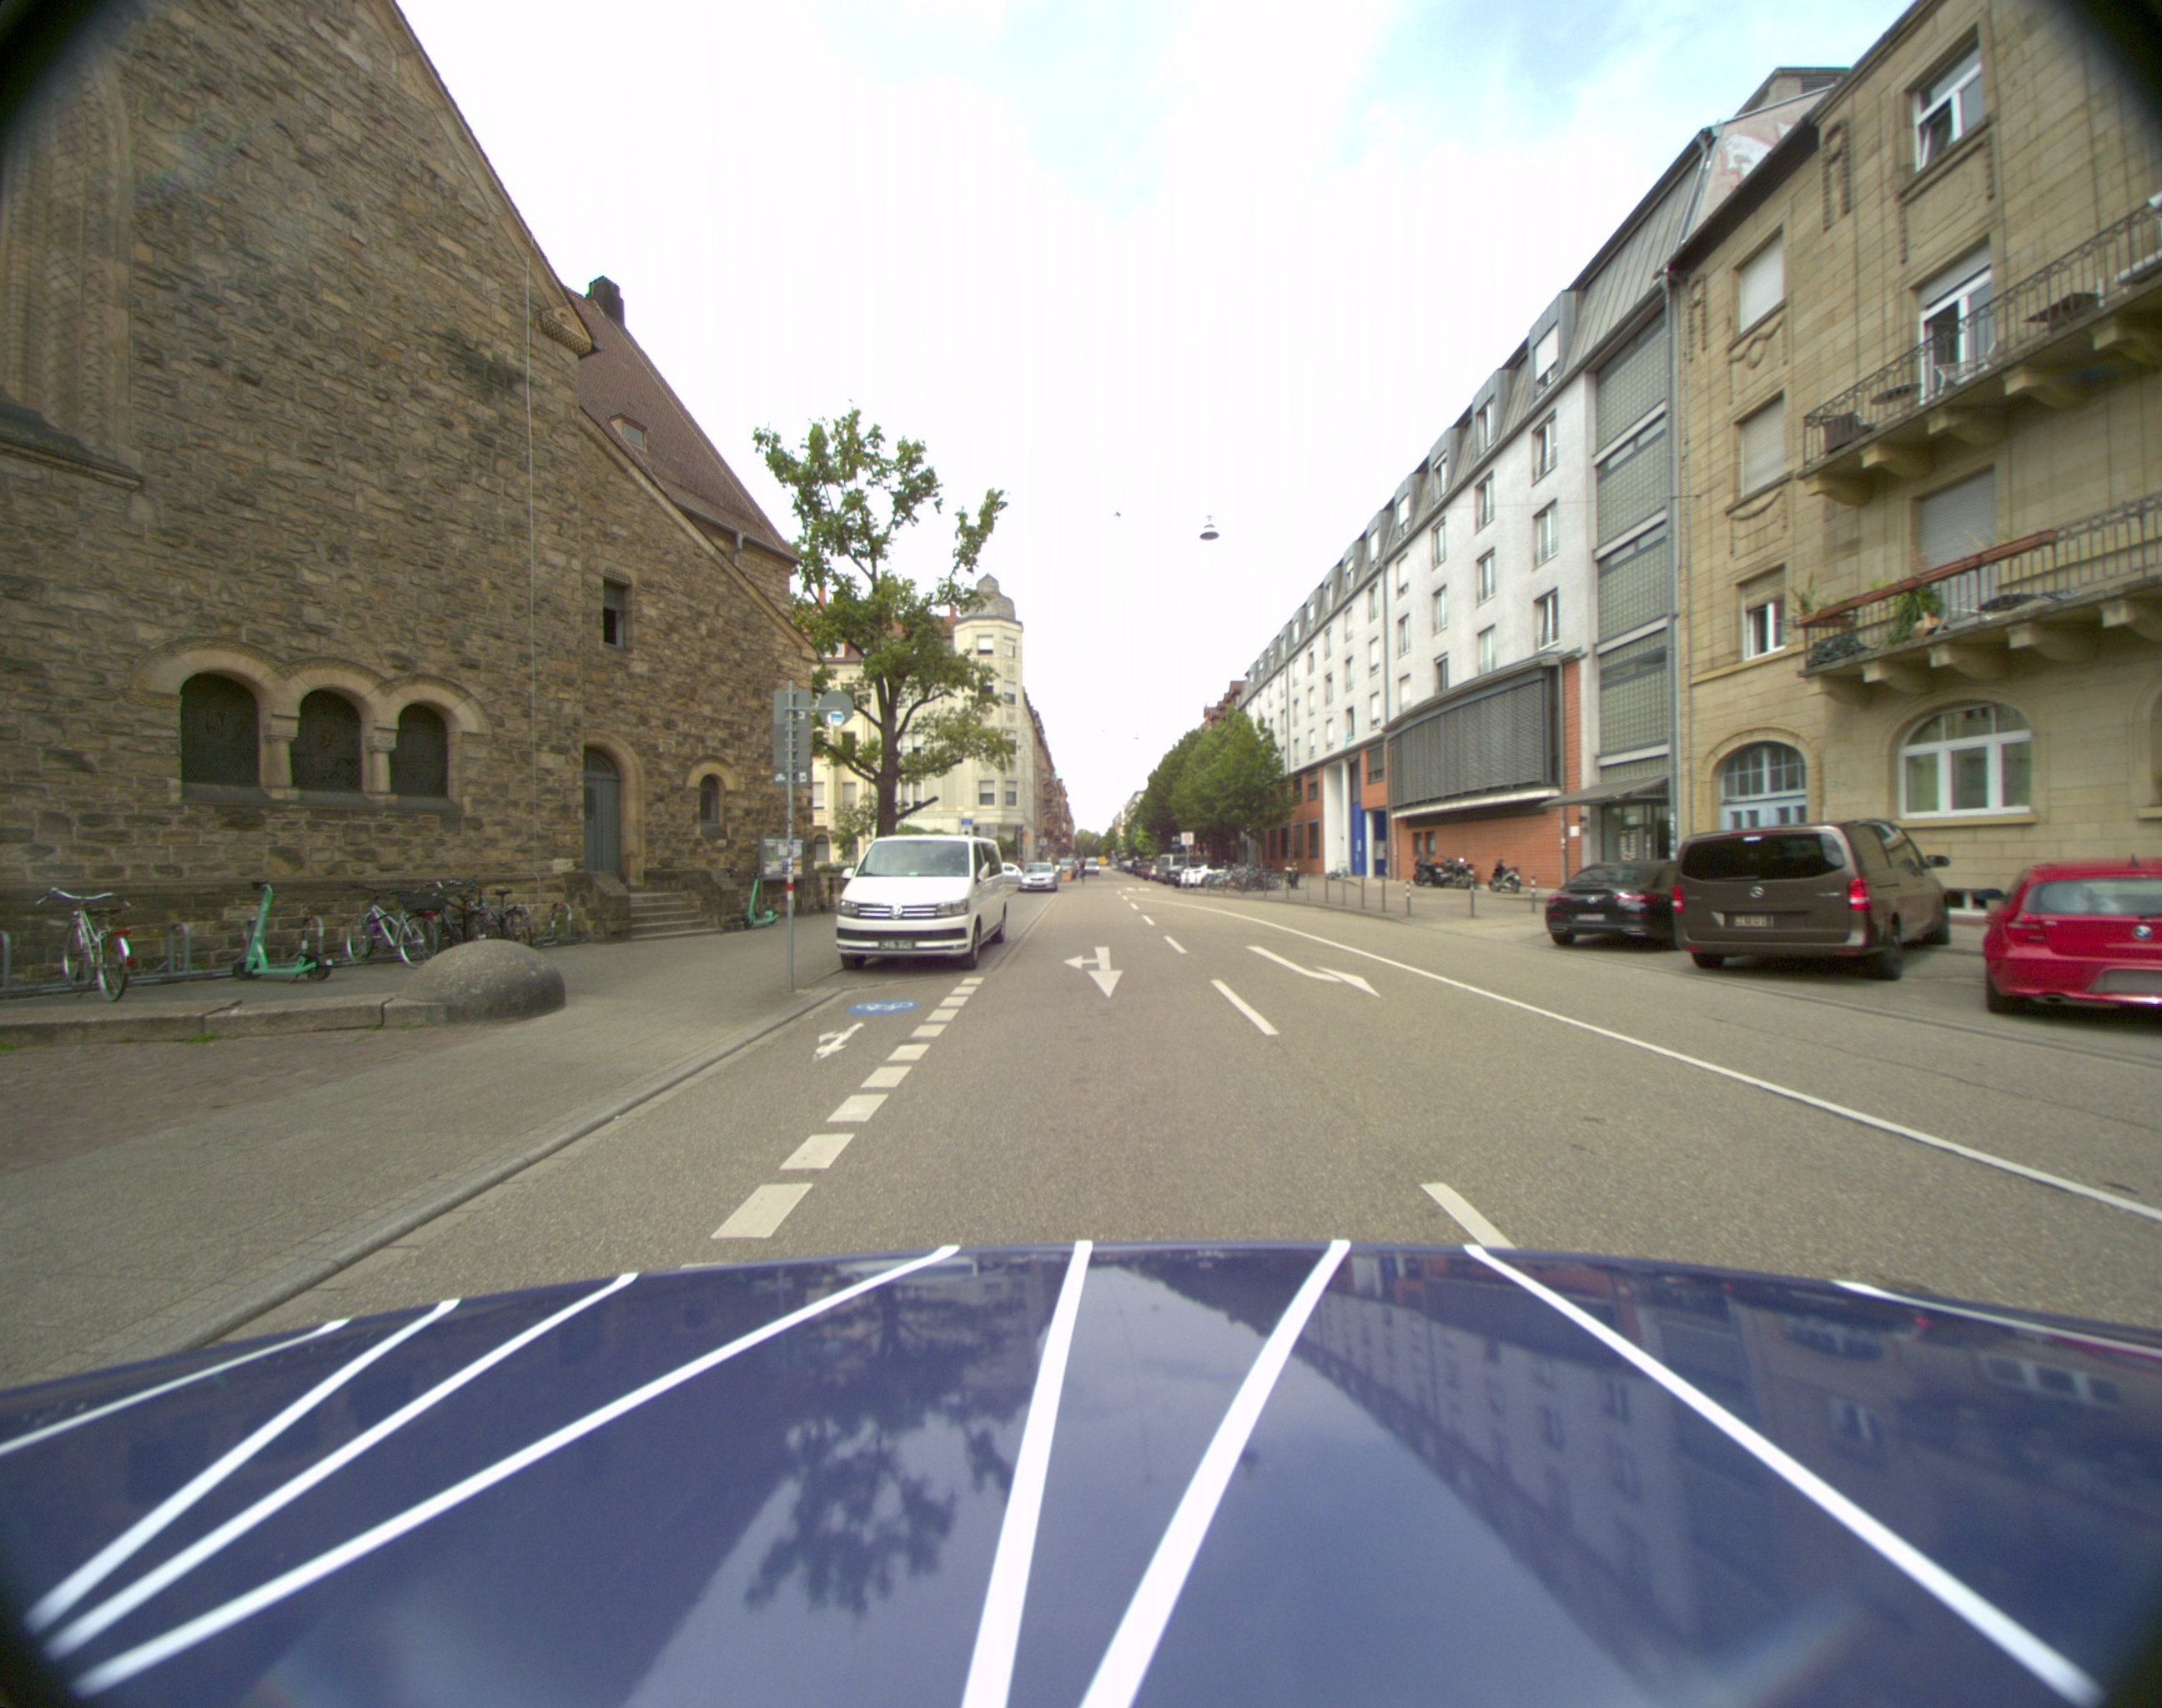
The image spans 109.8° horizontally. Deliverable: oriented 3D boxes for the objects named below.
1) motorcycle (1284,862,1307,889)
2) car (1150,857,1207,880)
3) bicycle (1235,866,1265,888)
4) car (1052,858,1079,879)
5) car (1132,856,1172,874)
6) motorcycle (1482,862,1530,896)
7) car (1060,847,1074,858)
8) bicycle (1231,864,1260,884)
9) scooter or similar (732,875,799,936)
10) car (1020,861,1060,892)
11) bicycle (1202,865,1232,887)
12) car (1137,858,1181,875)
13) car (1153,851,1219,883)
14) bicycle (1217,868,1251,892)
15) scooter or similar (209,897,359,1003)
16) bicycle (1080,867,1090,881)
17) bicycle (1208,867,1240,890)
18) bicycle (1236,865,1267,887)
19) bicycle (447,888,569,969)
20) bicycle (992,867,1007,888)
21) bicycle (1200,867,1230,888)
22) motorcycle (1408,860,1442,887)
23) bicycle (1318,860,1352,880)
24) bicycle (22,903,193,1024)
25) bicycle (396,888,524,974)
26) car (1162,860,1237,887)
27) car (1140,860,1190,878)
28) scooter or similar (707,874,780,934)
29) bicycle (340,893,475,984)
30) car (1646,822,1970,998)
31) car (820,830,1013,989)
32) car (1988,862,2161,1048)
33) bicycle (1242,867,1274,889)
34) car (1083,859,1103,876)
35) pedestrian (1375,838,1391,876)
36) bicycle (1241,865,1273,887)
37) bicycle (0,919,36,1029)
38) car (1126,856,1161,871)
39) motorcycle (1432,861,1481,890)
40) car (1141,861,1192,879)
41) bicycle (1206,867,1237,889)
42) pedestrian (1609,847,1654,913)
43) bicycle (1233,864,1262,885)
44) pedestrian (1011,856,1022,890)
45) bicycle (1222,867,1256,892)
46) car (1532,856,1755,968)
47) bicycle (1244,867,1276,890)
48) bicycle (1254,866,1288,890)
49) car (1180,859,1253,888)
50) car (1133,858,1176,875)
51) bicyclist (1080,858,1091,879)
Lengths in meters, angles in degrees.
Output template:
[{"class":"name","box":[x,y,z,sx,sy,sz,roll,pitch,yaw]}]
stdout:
[{"class":"motorcycle","box":[9.797,0.954,34.762,0.585,1.165,1.780,-2,0,2]},{"class":"car","box":[7.295,1.076,56.538,4.012,1.605,1.708,-1,-1,-33]},{"class":"bicycle","box":[8.417,1.140,37.929,1.409,1.020,0.402,-2,0,3]},{"class":"car","box":[-1.324,1.250,65.884,1.853,1.661,4.008,-1,-1,5]},{"class":"car","box":[7.618,1.143,81.451,4.052,1.846,1.687,-1,-1,-33]},{"class":"motorcycle","box":[14.146,0.817,25.332,0.585,1.042,1.794,-2,0,1]},{"class":"car","box":[-1.990,-0.153,111.091,1.854,1.505,4.006,-1,-1,0]},{"class":"bicycle","box":[8.484,1.027,39.212,1.409,1.020,0.402,-2,0,3]},{"class":"scooter or similar","box":[-6.608,1.050,16.000,0.545,1.200,1.444,0,0,14]},{"class":"car","box":[-2.008,1.075,37.904,1.759,1.459,4.419,0,0,0]},{"class":"bicycle","box":[6.980,1.134,38.913,1.409,1.020,0.402,-3,0,3]},{"class":"car","box":[7.477,1.186,72.556,4.012,1.558,1.687,-1,-1,-33]},{"class":"car","box":[7.054,0.846,50.978,4.011,1.986,1.857,-3,1,-30]},{"class":"bicycle","box":[7.049,1.199,34.995,1.409,1.032,0.402,-3,0,3]},{"class":"scooter or similar","box":[-9.445,1.096,9.000,1.778,1.133,0.547,0,0,20]},{"class":"bicycle","box":[0.274,1.372,51.534,0.586,0.927,1.783,-1,-1,2]},{"class":"bicycle","box":[6.954,1.206,36.998,1.409,1.032,0.402,-3,0,3]},{"class":"bicycle","box":[8.411,1.069,37.443,1.409,1.020,0.402,-2,0,3]},{"class":"bicycle","box":[-8.518,1.081,11.290,1.778,1.105,0.547,0,0,20]},{"class":"bicycle","box":[-4.379,1.229,40.840,0.523,1.098,1.979,-1,-1,2]},{"class":"bicycle","box":[6.999,1.214,39.721,1.409,1.020,0.402,-3,0,3]},{"class":"motorcycle","box":[14.223,0.800,31.453,0.585,1.042,1.657,-2,0,-1]},{"class":"bicycle","box":[14.147,0.873,42.362,1.613,0.920,0.932,-7,-1,13]},{"class":"bicycle","box":[-10.095,1.091,7.877,1.778,1.105,0.547,0,0,20]},{"class":"bicycle","box":[-8.727,1.053,10.673,1.771,1.105,0.547,0,0,20]},{"class":"car","box":[7.064,1.147,45.180,4.324,1.460,1.713,-1,0,-33]},{"class":"car","box":[7.143,1.245,64.334,4.012,1.445,1.687,-1,-1,-33]},{"class":"scooter or similar","box":[-7.218,1.037,16.304,0.545,1.200,1.483,0,0,21]},{"class":"bicycle","box":[-8.957,1.094,10.099,1.778,1.105,0.547,0,0,20]},{"class":"car","box":[10.182,0.587,10.508,5.280,1.898,2.116,-1,0,-33]},{"class":"car","box":[-2.335,0.748,12.287,2.019,2.017,5.124,0,-1,-1]},{"class":"car","box":[10.062,0.808,7.248,4.020,1.401,1.792,-1,0,-40]},{"class":"bicycle","box":[8.419,1.140,36.140,1.409,1.020,0.402,-2,0,3]},{"class":"car","box":[1.417,1.523,87.381,1.942,1.913,4.008,-1,-1,5]},{"class":"pedestrian","box":[16.267,0.171,40.929,0.729,2.002,0.783,-1,0,20]},{"class":"bicycle","box":[8.488,1.055,36.624,1.409,1.020,0.402,-2,0,3]},{"class":"bicycle","box":[-10.544,1.096,7.029,1.778,0.951,0.547,0,0,20]},{"class":"car","box":[7.795,1.185,94.574,4.012,1.846,1.687,-1,-1,-33]},{"class":"motorcycle","box":[14.368,0.817,29.107,0.585,1.042,1.965,-2,0,-10]},{"class":"car","box":[7.006,1.284,61.977,4.012,1.381,1.593,-1,-1,-33]},{"class":"bicycle","box":[6.957,1.193,37.640,1.409,1.020,0.402,-3,0,3]},{"class":"pedestrian","box":[12.472,0.580,17.218,0.662,1.477,0.508,-1,0,-13]},{"class":"bicycle","box":[8.457,1.044,38.622,1.409,1.020,0.402,-2,0,3]},{"class":"pedestrian","box":[-3.198,0.941,37.789,0.468,1.725,0.410,0,0,0]},{"class":"bicycle","box":[7.077,1.163,34.102,1.409,1.032,0.402,-3,0,3]},{"class":"car","box":[9.948,0.889,13.292,4.679,1.401,1.895,-4,0,-38]},{"class":"bicycle","box":[8.390,1.140,35.604,1.409,1.020,0.402,-2,0,3]},{"class":"bicycle","box":[8.581,1.088,34.358,1.409,1.020,0.402,-2,0,3]},{"class":"car","box":[7.659,1.077,42.729,4.013,1.536,1.598,-1,0,-33]},{"class":"car","box":[7.287,1.230,75.126,4.012,1.558,1.687,-1,-1,-33]},{"class":"bicyclist","box":[0.301,1.000,51.556,0.649,1.408,1.094,-1,0,2]}]
